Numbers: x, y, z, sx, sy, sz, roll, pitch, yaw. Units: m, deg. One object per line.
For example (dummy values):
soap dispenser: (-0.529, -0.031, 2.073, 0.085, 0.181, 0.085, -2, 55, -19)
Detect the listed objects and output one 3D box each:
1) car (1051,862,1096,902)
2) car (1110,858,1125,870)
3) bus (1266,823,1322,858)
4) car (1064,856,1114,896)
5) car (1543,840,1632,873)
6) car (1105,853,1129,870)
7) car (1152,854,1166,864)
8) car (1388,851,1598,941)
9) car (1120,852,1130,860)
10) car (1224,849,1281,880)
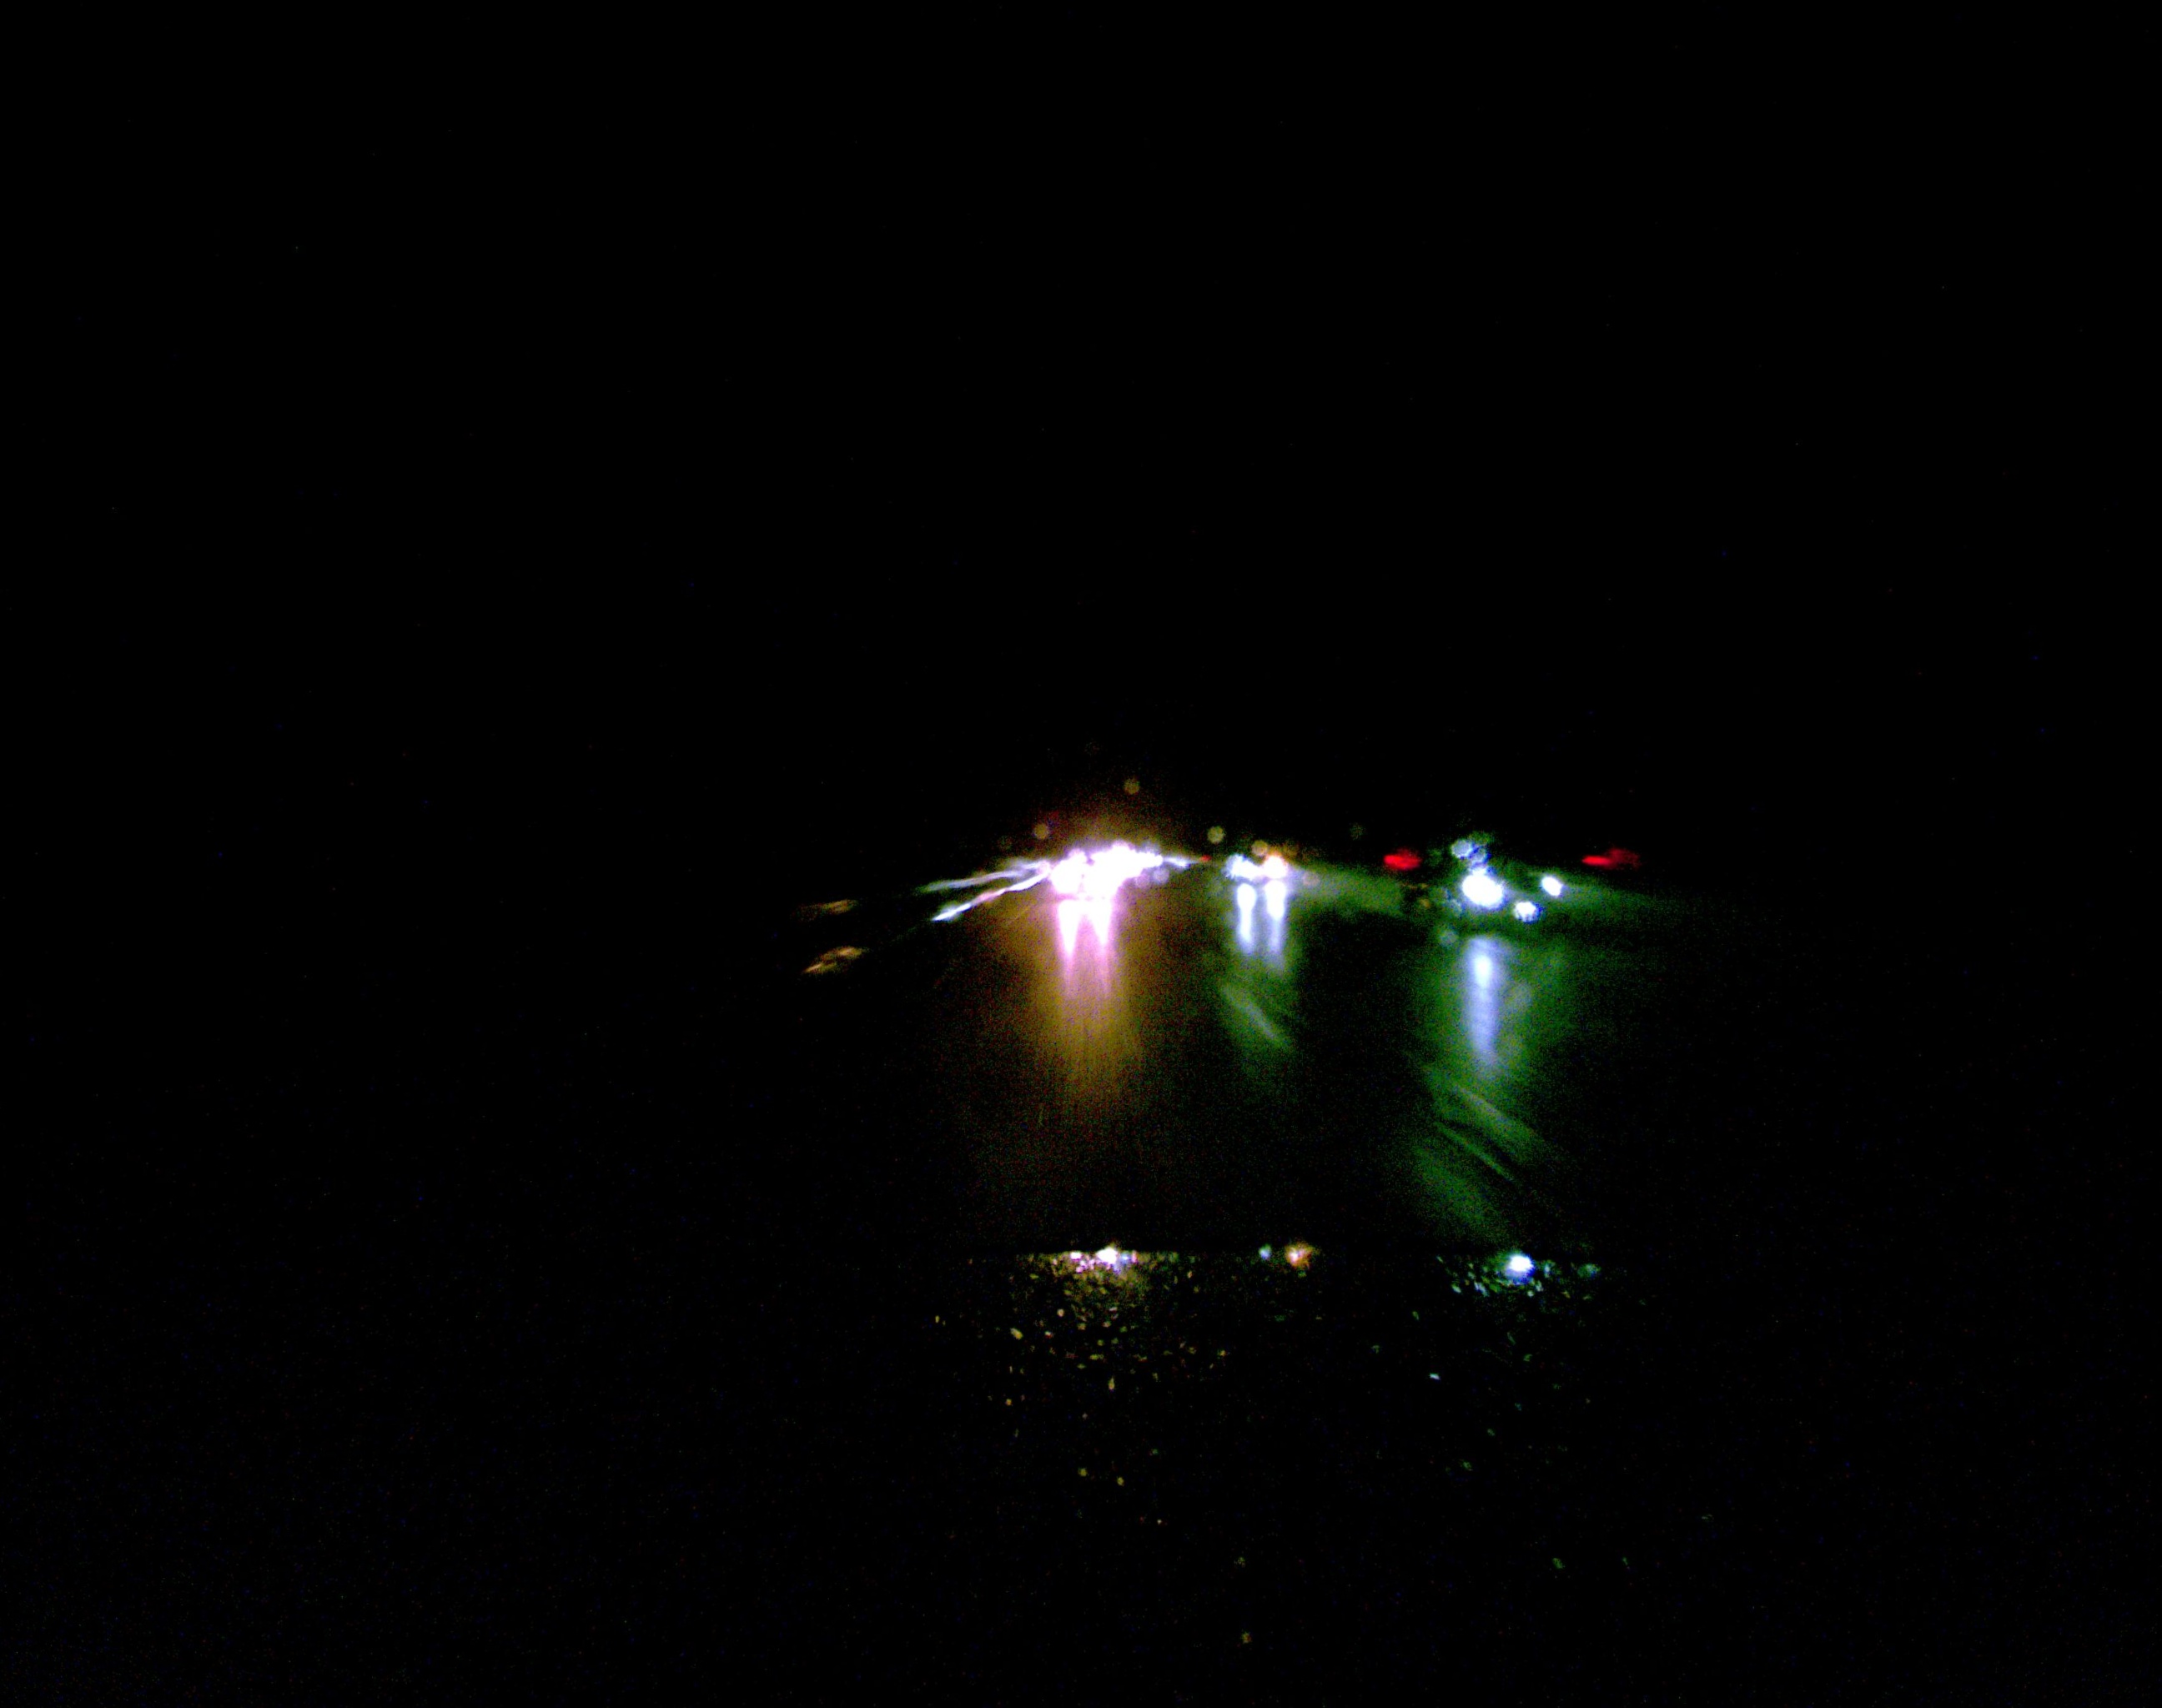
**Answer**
car: (-0.241, 0.995, 28.213, 1.525, 1.256, 3.368, -2, 1, 1)
car: (5.377, 1.461, 111.515, 1.998, 1.551, 4.587, -2, 1, 1)
bus: (29.298, -1.877, 105.765, 3.379, 4.423, 16.541, -2, 1, 1)
car: (0.360, 0.952, 33.180, 1.998, 1.542, 4.001, -2, -1, 1)
car: (28.568, 0.090, 43.051, 1.885, 1.712, 4.561, -2, 1, -2)
car: (3.333, 0.679, 71.548, 1.999, 1.468, 4.840, -2, 1, 0)
car: (14.174, 0.920, 138.366, 1.998, 1.551, 4.587, -2, 1, 1)
car: (7.879, 0.713, 15.039, 1.998, 1.433, 3.999, -2, 1, 1)
car: (9.856, 0.458, 169.469, 1.998, 1.551, 4.587, -2, 1, 1)
car: (9.133, 0.508, 40.851, 1.998, 1.468, 5.165, -2, 1, 2)
